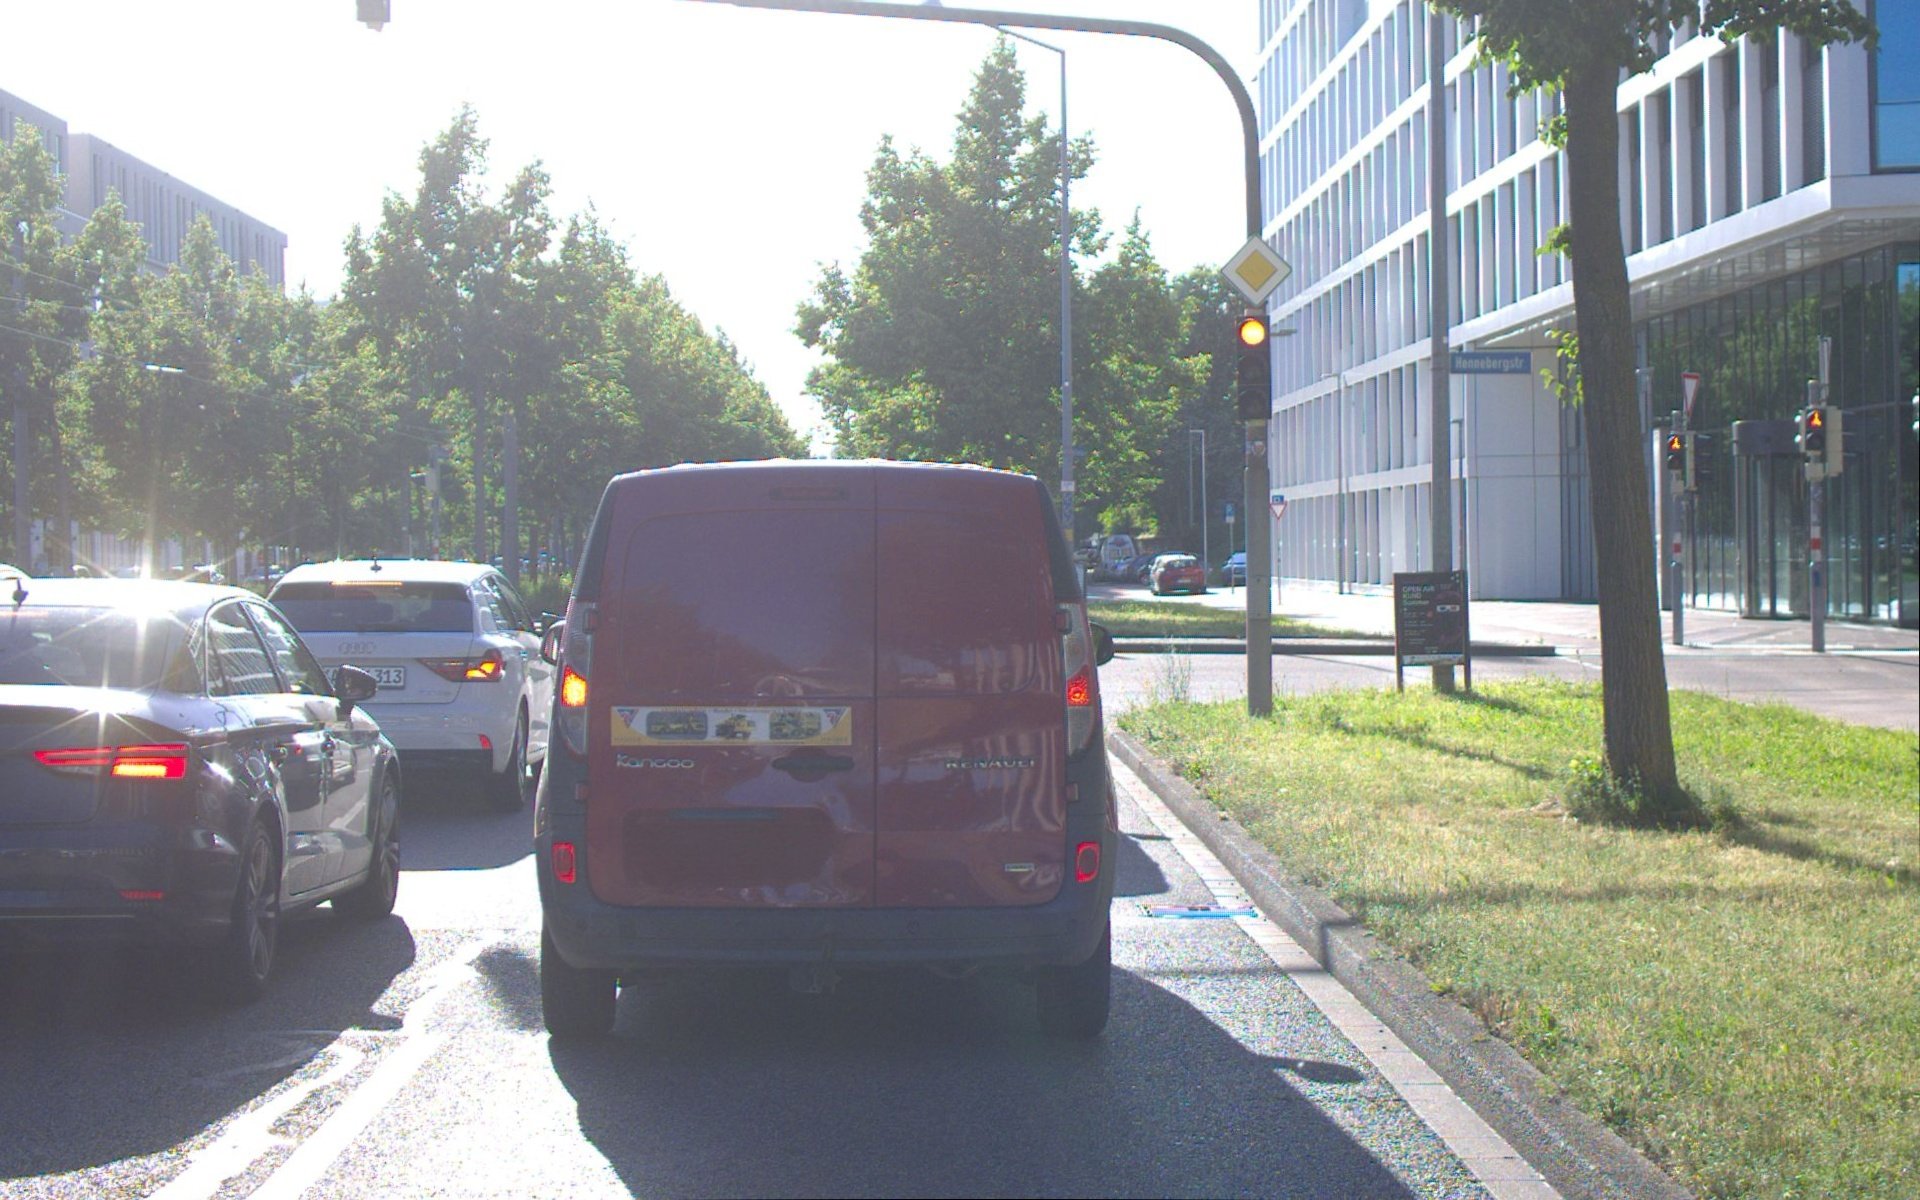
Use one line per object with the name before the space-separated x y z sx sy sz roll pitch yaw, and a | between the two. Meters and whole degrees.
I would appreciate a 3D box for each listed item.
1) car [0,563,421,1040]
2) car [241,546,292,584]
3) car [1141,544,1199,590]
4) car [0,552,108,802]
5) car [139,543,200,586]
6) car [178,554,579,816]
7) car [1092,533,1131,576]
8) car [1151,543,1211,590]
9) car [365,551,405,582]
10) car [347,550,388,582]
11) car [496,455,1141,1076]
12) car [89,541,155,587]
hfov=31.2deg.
car | -3.210 0.589 12.576 1.842 1.421 4.339 0 1 -1
car | -37.422 -1.891 185.571 1.993 2.007 4.000 0 1 -1
car | 8.311 -1.329 136.108 1.993 1.776 4.000 0 1 -1
car | -6.755 0.432 21.698 1.799 1.478 4.569 3 1 -3
car | -37.144 -1.688 161.584 1.993 2.007 4.000 0 1 -1
car | -3.393 0.439 20.747 1.803 1.421 3.901 0 1 -1
car | 8.862 -2.678 201.520 1.993 2.488 4.987 0 1 -1
car | 8.423 -1.286 131.179 1.993 1.776 4.000 0 1 -1
car | -37.772 -2.231 226.028 1.993 2.007 4.000 0 1 -1
car | -37.979 -2.192 220.403 1.993 2.007 4.000 0 1 -1
car | -0.429 0.443 11.843 1.842 1.774 4.000 0 1 -1
car | -37.150 -1.614 152.483 1.993 2.007 4.000 0 1 -1
